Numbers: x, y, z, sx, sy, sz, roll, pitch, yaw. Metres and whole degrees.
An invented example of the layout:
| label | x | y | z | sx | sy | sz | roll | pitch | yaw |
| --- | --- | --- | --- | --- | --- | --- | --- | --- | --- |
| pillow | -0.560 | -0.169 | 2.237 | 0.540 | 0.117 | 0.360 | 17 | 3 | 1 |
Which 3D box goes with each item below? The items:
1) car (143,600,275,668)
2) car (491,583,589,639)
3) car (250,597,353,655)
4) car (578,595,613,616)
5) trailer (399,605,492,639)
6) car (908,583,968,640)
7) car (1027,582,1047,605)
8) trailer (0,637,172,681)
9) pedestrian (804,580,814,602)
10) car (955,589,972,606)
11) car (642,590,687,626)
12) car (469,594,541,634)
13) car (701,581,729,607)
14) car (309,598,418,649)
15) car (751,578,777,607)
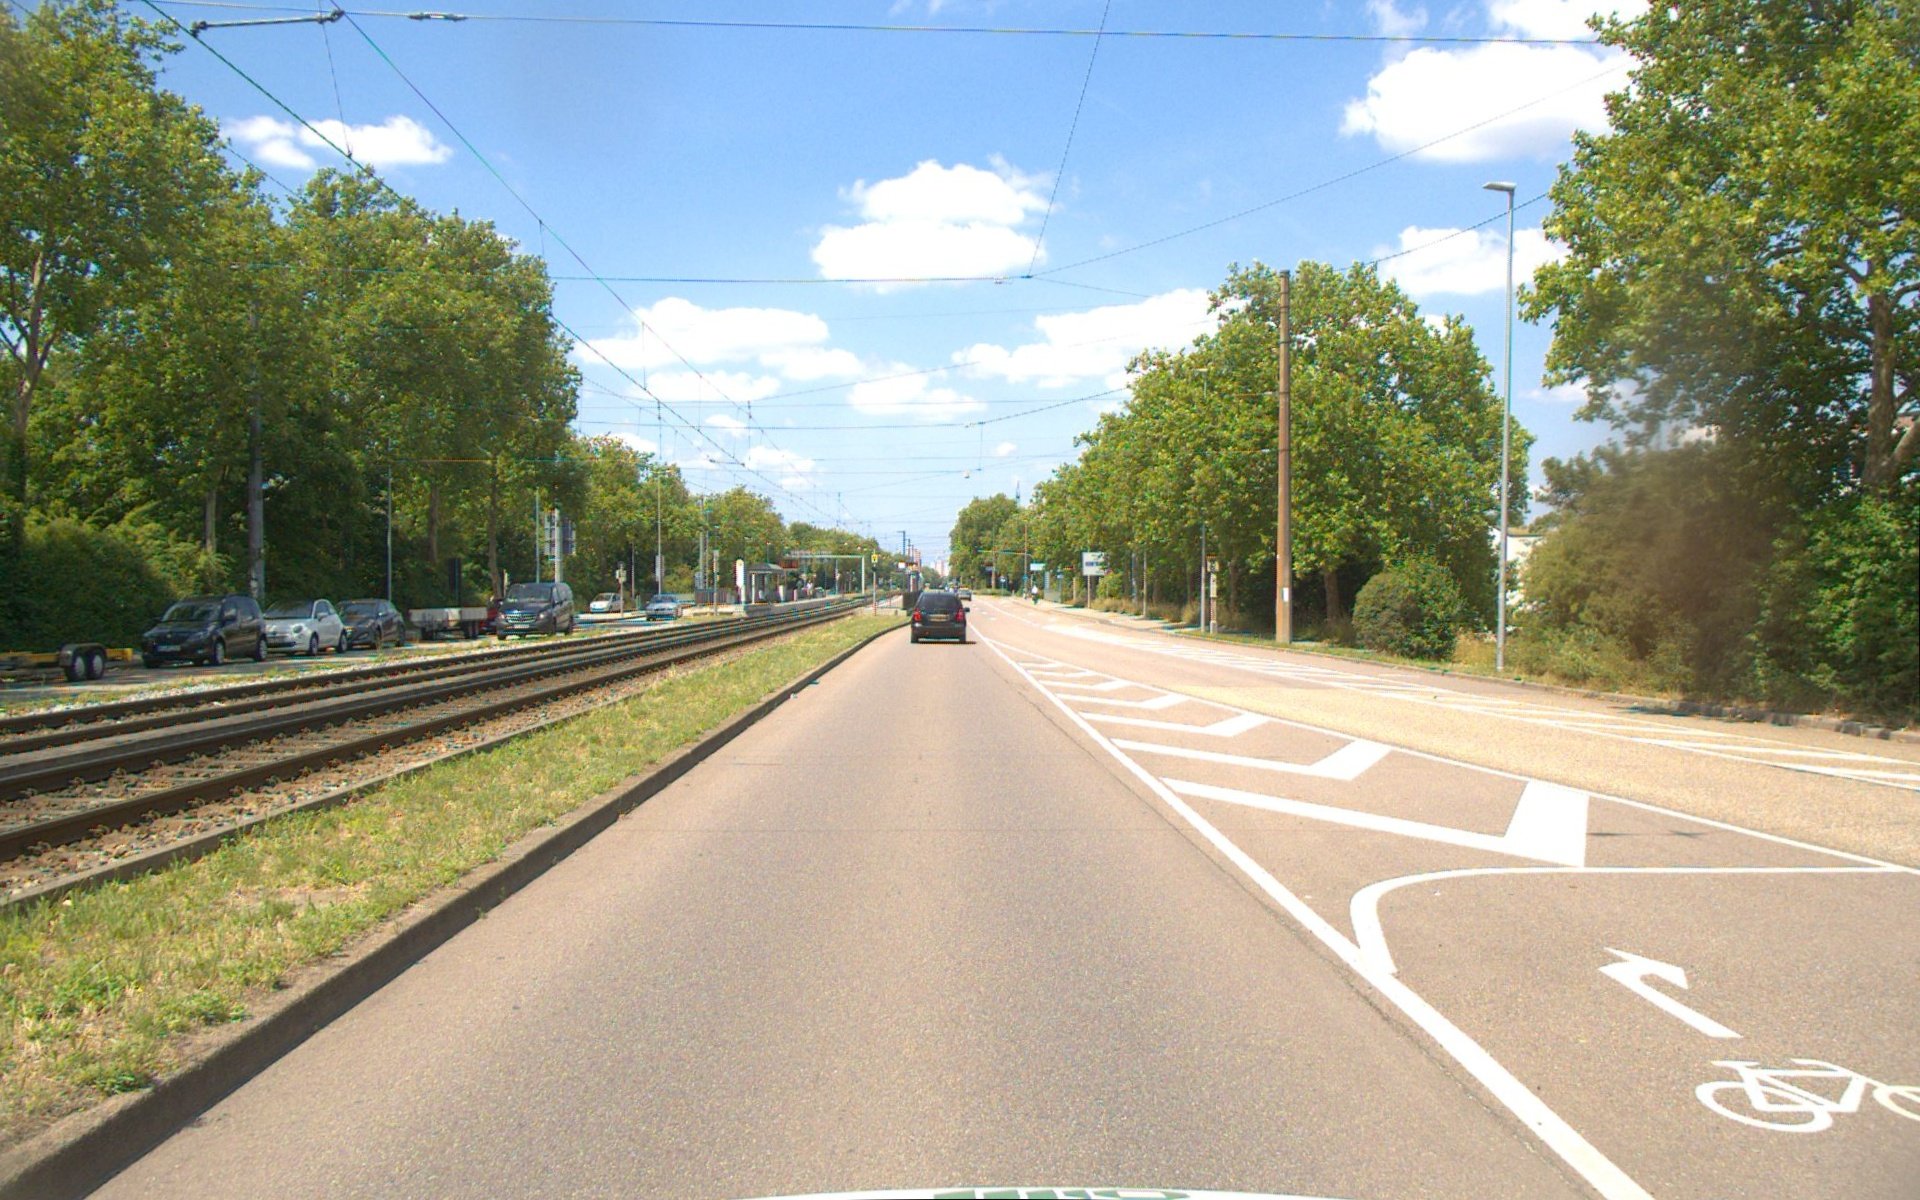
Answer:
| label | x | y | z | sx | sy | sz | roll | pitch | yaw |
| --- | --- | --- | --- | --- | --- | --- | --- | --- | --- |
| car | -17.401 | 0.756 | 38.503 | 1.405 | 1.477 | 3.919 | 1 | 0 | -3 |
| car | -14.401 | 0.344 | 57.017 | 2.074 | 1.821 | 5.404 | 1 | 0 | -1 |
| car | -17.617 | 0.673 | 44.394 | 1.405 | 1.477 | 3.739 | 1 | 0 | -3 |
| car | -28.809 | 0.389 | 130.821 | 1.953 | 1.601 | 4.000 | 1 | 0 | 0 |
| trailer | -18.358 | 0.772 | 59.243 | 1.855 | 1.062 | 5.101 | 1 | 0 | -2 |
| car | -0.663 | 0.332 | 52.560 | 1.815 | 1.597 | 4.389 | 1 | 2 | 0 |
| car | 7.247 | -0.628 | 155.688 | 1.580 | 2.048 | 3.439 | 1 | 1 | -1 |
| trailer | -17.220 | 1.117 | 32.146 | 1.953 | 0.755 | 3.999 | 0 | -1 | -1 |
| pedestrian | -14.782 | -0.869 | 162.096 | 0.933 | 2.048 | 0.892 | 1 | 1 | -1 |
| car | 0.378 | -0.291 | 191.379 | 1.846 | 1.668 | 4.000 | 4 | 1 | 0 |
| car | -17.090 | 0.432 | 95.877 | 1.953 | 2.049 | 3.999 | 1 | 0 | -1 |
| car | -18.744 | 0.558 | 68.267 | 1.953 | 1.601 | 3.999 | 1 | 0 | -1 |
| car | -20.536 | -0.491 | 138.729 | 1.954 | 2.048 | 3.998 | 1 | 1 | -3 |
| car | -17.872 | 0.663 | 49.755 | 1.833 | 1.425 | 4.416 | 1 | 0 | -3 |
| car | -14.644 | -0.547 | 123.708 | 1.553 | 2.048 | 4.109 | 1 | 1 | -2 |
